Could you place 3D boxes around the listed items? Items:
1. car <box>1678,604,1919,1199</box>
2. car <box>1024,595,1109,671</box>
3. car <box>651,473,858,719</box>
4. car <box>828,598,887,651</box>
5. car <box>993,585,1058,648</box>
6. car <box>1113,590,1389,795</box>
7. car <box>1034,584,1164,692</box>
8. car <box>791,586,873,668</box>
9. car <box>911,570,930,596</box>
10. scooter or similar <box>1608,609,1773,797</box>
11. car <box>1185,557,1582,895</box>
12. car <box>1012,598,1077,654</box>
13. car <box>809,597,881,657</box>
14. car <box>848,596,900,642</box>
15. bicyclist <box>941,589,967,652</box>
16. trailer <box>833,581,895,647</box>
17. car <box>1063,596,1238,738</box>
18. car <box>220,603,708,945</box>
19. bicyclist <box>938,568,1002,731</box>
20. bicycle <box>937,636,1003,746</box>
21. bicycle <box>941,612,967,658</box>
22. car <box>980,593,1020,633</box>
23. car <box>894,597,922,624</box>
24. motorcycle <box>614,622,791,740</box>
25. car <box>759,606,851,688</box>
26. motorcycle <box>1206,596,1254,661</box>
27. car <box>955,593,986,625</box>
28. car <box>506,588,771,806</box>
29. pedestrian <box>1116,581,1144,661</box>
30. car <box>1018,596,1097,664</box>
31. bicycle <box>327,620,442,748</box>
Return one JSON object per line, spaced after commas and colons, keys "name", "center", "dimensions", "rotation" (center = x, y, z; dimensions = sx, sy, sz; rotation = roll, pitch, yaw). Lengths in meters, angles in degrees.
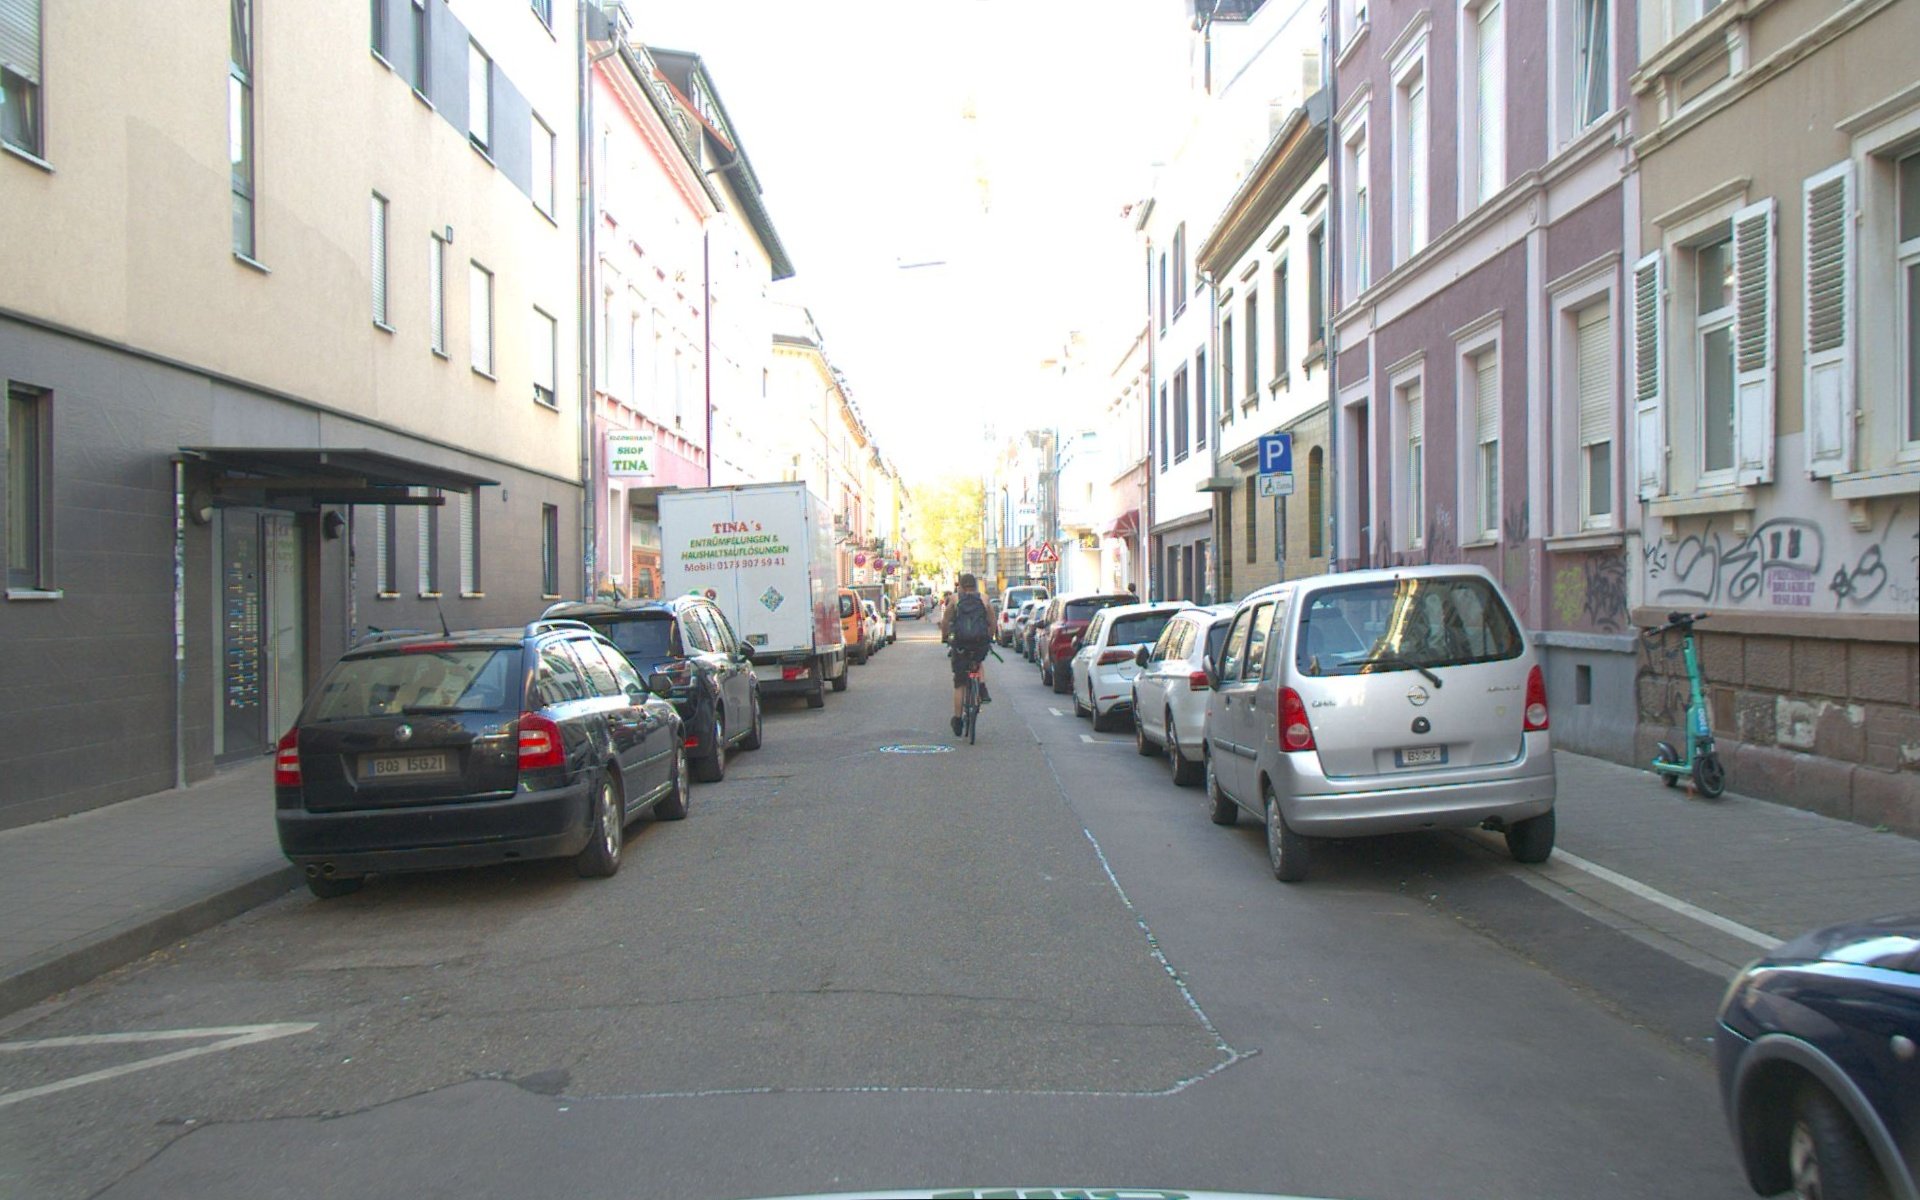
{"name": "car", "center": [2.598, 0.776, 2.268], "dimensions": [1.521, 1.537, 3.609], "rotation": [0, 0, -3]}
{"name": "car", "center": [2.356, 0.730, 37.424], "dimensions": [1.633, 1.531, 3.816], "rotation": [-3, 0, 0]}
{"name": "car", "center": [-3.095, -0.033, 26.740], "dimensions": [2.296, 3.349, 7.154], "rotation": [-2, 0, 0]}
{"name": "car", "center": [-3.172, 0.756, 51.542], "dimensions": [1.620, 1.564, 3.633], "rotation": [-2, 0, -1]}
{"name": "car", "center": [2.055, 0.524, 52.965], "dimensions": [1.715, 1.911, 3.970], "rotation": [-2, 0, -3]}
{"name": "car", "center": [2.545, 0.756, 15.569], "dimensions": [1.662, 1.570, 4.628], "rotation": [-2, 0, -1]}
{"name": "car", "center": [2.377, 0.620, 29.334], "dimensions": [1.879, 1.736, 4.365], "rotation": [-1, 0, -1]}
{"name": "car", "center": [-3.101, 0.656, 40.856], "dimensions": [1.717, 1.848, 4.077], "rotation": [-3, 0, -1]}
{"name": "car", "center": [-3.705, -1.563, 155.970], "dimensions": [1.714, 2.358, 3.795], "rotation": [-2, 0, -1]}
{"name": "scooter or similar", "center": [5.071, 0.680, 11.558], "dimensions": [0.441, 1.203, 1.368], "rotation": [-4, 0, -1]}
{"name": "car", "center": [2.447, 0.669, 10.369], "dimensions": [1.525, 1.742, 3.558], "rotation": [0, 0, -1]}
{"name": "car", "center": [2.415, 0.734, 47.904], "dimensions": [1.714, 1.513, 3.800], "rotation": [-2, 0, 1]}
{"name": "car", "center": [-3.186, 0.739, 46.466], "dimensions": [1.714, 1.564, 4.318], "rotation": [-2, 0, -1]}
{"name": "car", "center": [-3.115, 0.694, 60.432], "dimensions": [1.714, 1.600, 3.795], "rotation": [-2, 0, -1]}
{"name": "bicyclist", "center": [-0.155, 0.516, 42.339], "dimensions": [0.657, 1.595, 0.716], "rotation": [0, -1, -2]}
{"name": "trailer", "center": [-3.224, 0.473, 56.162], "dimensions": [1.843, 2.129, 3.736], "rotation": [-2, 0, -1]}
{"name": "car", "center": [2.339, 0.790, 21.225], "dimensions": [1.652, 1.570, 4.045], "rotation": [-2, 0, -1]}
{"name": "car", "center": [-2.773, 0.856, 10.361], "dimensions": [1.682, 1.504, 4.498], "rotation": [-3, 1, -1]}
{"name": "bicyclist", "center": [0.096, 0.526, 17.944], "dimensions": [0.654, 1.706, 1.097], "rotation": [0, -1, -1]}
{"name": "bicycle", "center": [0.090, 0.956, 17.995], "dimensions": [0.663, 1.093, 1.941], "rotation": [0, -1, -1]}
{"name": "bicycle", "center": [-0.161, 0.875, 42.339], "dimensions": [0.635, 1.149, 2.135], "rotation": [0, -1, -1]}
{"name": "car", "center": [1.705, 0.568, 70.734], "dimensions": [1.578, 1.662, 3.609], "rotation": [0, 0, -1]}
{"name": "car", "center": [-3.427, 0.703, 109.527], "dimensions": [1.714, 1.713, 3.795], "rotation": [-2, 0, -1]}
{"name": "motorcycle", "center": [-3.105, 0.957, 20.128], "dimensions": [0.777, 1.275, 2.096], "rotation": [-3, 0, 40]}
{"name": "car", "center": [-3.161, 0.934, 34.246], "dimensions": [1.546, 1.509, 3.564], "rotation": [-3, 0, -1]}
{"name": "motorcycle", "center": [4.863, 0.502, 29.869], "dimensions": [0.491, 1.114, 1.878], "rotation": [-3, 0, -1]}
{"name": "car", "center": [0.528, 0.472, 86.529], "dimensions": [1.578, 1.587, 3.609], "rotation": [0, 0, -1]}
{"name": "car", "center": [-2.904, 0.787, 15.821], "dimensions": [1.682, 1.679, 4.245], "rotation": [-3, 1, -1]}
{"name": "pedestrian", "center": [4.402, 0.540, 42.823], "dimensions": [0.631, 2.049, 0.763], "rotation": [0, -1, -1]}
{"name": "car", "center": [2.409, 0.744, 41.671], "dimensions": [1.613, 1.500, 3.970], "rotation": [-5, 0, -1]}
{"name": "bicycle", "center": [-5.813, 0.818, 16.799], "dimensions": [0.480, 1.185, 1.773], "rotation": [-2, 0, 0]}
